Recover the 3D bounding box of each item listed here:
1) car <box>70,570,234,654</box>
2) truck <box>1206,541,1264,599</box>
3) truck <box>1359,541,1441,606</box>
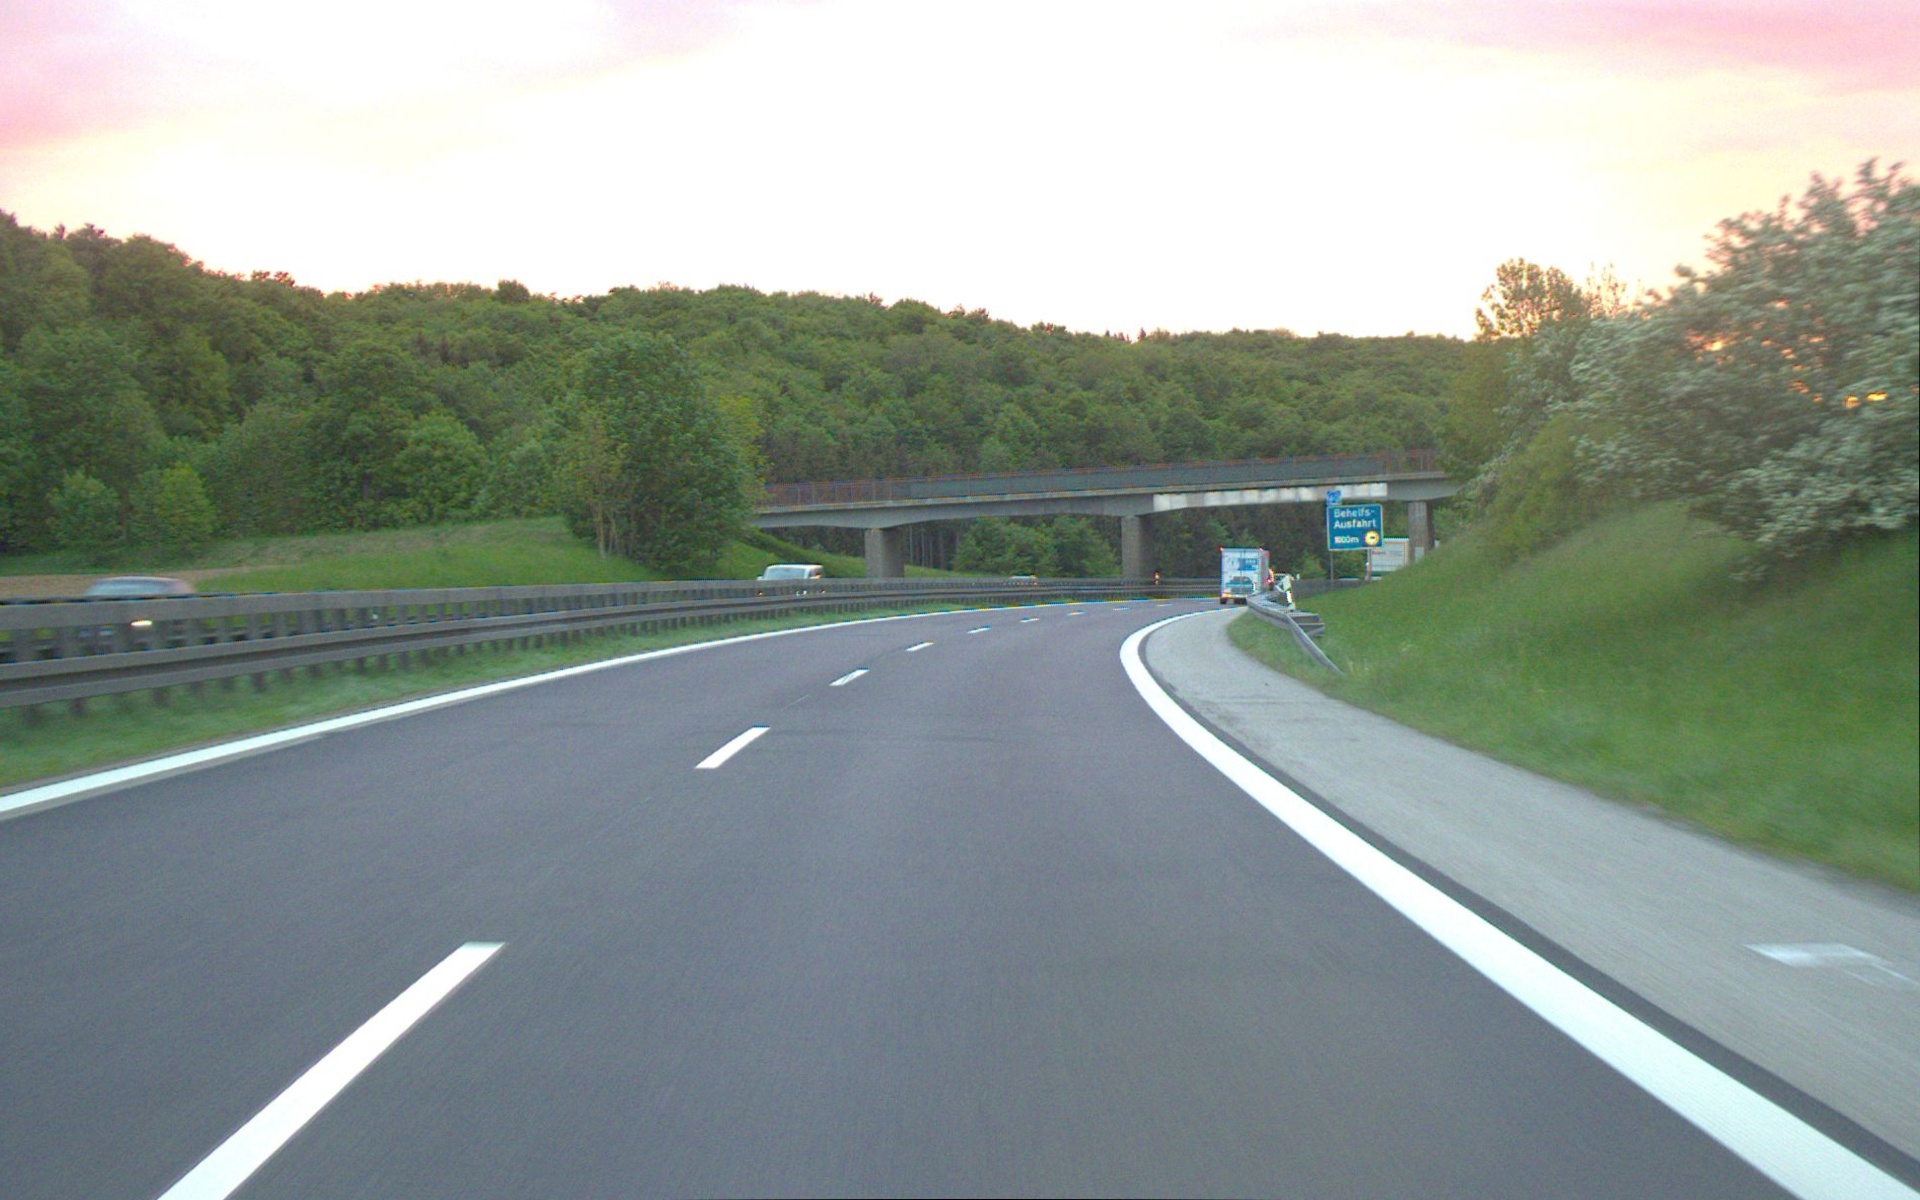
[{"bbox_3d":[-14.233,0.191,60.760,1.638,1.283,3.950,-3,1,4],"label":"car"},{"bbox_3d":[13.158,-1.457,164.038,2.277,2.656,5.234,-1,1,9],"label":"truck"},{"bbox_3d":[29.754,-1.783,231.993,3.960,4.272,14.314,0,0,14],"label":"truck"}]
